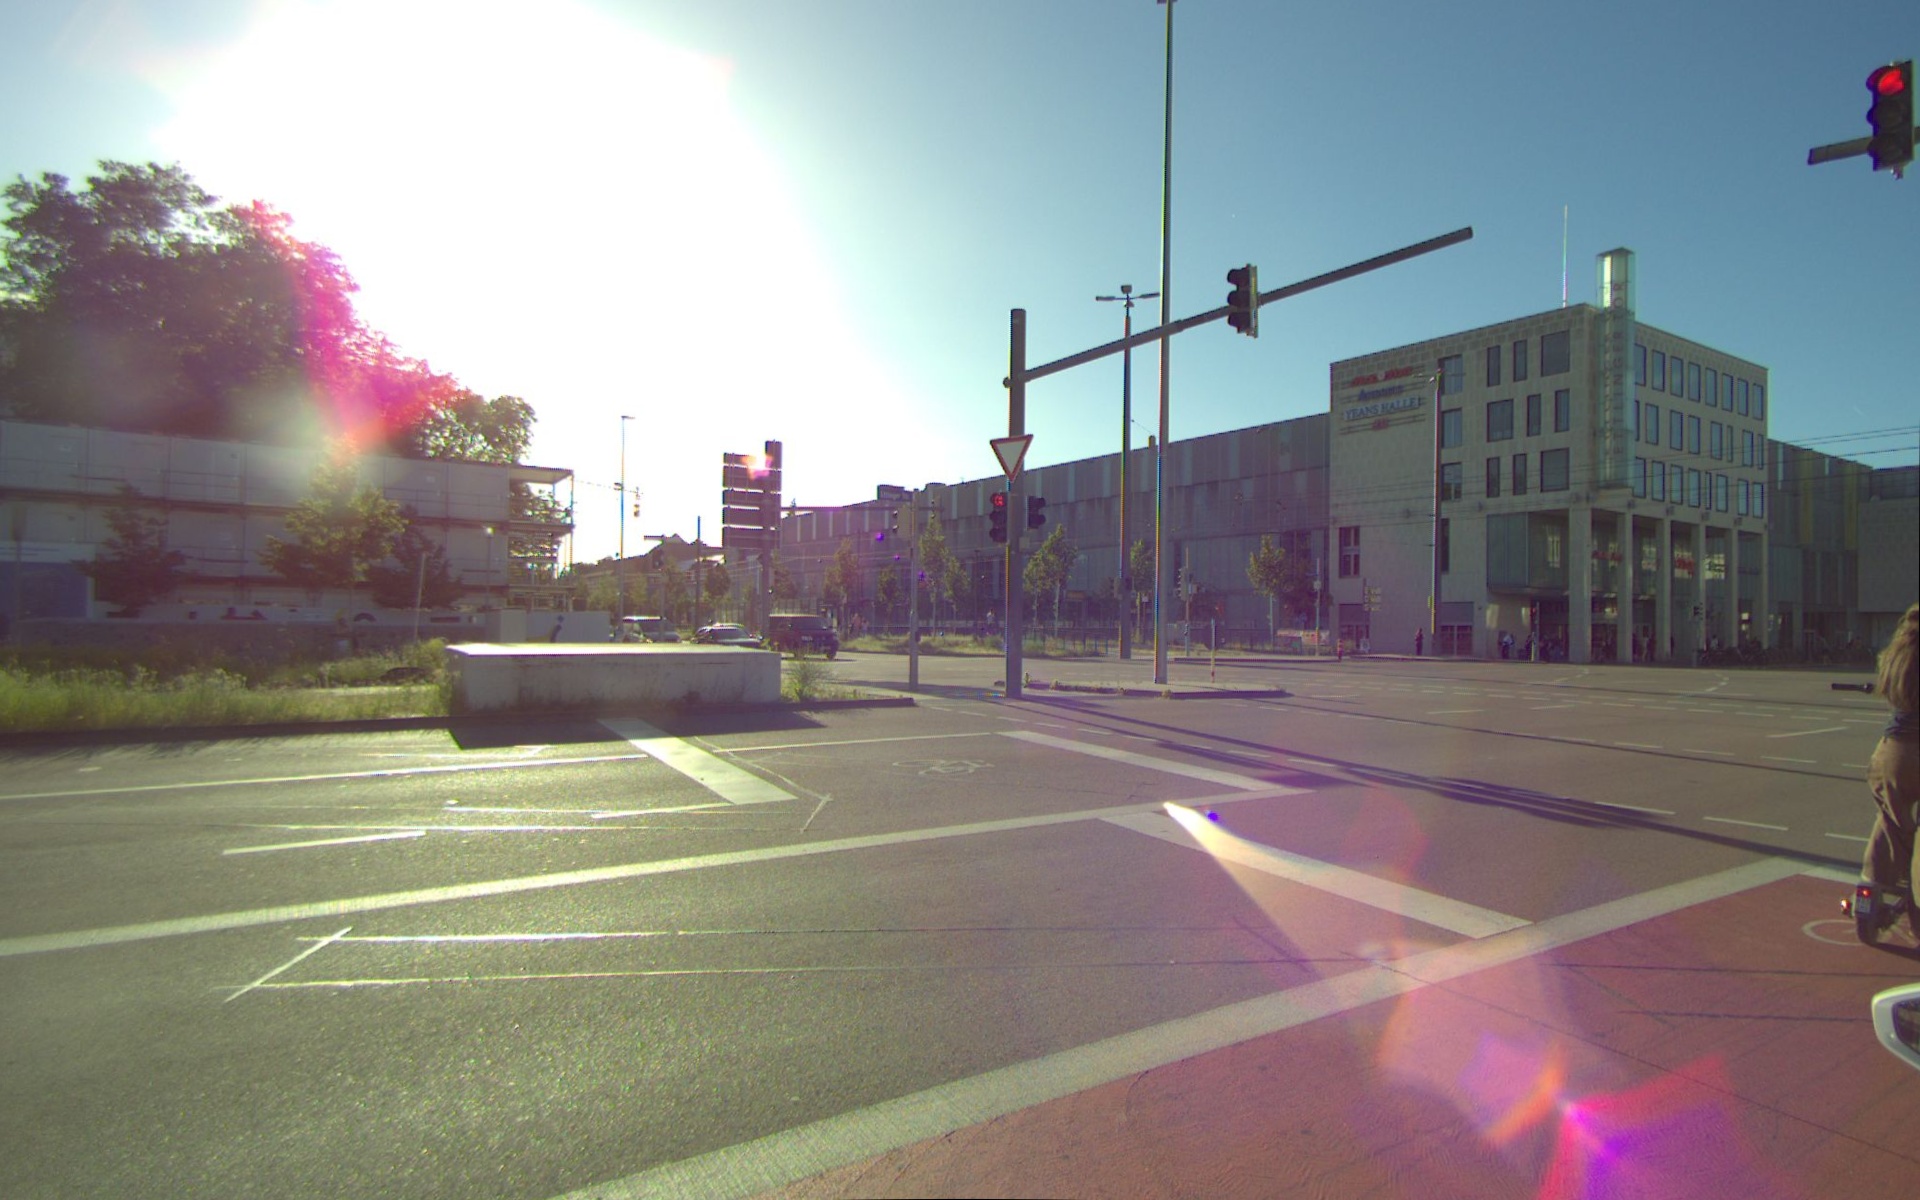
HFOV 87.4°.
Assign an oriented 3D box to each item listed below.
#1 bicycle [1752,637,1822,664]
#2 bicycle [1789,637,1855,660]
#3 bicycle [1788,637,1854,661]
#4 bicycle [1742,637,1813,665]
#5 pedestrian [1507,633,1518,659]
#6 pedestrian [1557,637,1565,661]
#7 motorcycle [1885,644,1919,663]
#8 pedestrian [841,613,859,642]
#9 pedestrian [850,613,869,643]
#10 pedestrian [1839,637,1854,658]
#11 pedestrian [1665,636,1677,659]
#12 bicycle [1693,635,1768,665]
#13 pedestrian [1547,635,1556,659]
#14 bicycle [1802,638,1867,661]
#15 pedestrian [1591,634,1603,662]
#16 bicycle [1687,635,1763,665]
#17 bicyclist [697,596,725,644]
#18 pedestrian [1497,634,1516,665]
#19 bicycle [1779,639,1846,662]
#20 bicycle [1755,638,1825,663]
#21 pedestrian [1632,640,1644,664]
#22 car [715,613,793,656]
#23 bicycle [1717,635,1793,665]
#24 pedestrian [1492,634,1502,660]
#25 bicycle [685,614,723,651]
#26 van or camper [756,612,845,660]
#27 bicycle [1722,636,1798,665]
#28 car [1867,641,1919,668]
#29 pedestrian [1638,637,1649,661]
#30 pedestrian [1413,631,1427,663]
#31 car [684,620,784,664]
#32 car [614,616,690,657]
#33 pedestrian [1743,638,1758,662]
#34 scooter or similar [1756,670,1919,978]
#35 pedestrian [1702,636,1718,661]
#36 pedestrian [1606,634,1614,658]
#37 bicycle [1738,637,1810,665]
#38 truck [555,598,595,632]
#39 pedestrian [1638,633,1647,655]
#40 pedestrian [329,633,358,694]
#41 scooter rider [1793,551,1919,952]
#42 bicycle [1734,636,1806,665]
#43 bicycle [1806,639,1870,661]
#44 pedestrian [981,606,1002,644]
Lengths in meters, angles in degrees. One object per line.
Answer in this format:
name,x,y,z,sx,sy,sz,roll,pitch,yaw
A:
bicycle,54.503,3.317,66.255,0.979,1.719,3.462,1,-2,-40
bicycle,61.186,3.448,71.305,0.979,1.547,3.462,2,-2,-40
bicycle,60.379,3.431,70.473,0.979,1.547,3.462,2,-2,-40
bicycle,52.857,3.256,64.965,0.979,1.719,3.462,1,-2,-40
pedestrian,34.450,2.855,62.670,0.452,1.586,0.420,1,-1,-30
pedestrian,36.649,2.964,61.259,0.380,1.431,0.438,0,-1,19
motorcycle,70.744,4.014,75.086,0.713,1.335,2.260,1,-2,-34
pedestrian,-7.192,1.817,65.805,0.889,1.855,0.787,1,-1,-35
pedestrian,-6.257,1.752,62.404,0.889,1.855,0.787,1,-1,-35
pedestrian,68.867,3.691,78.022,0.685,1.664,0.694,0,-1,23
pedestrian,49.868,3.321,70.451,0.592,1.606,0.479,1,-1,-34
bicycle,46.590,2.975,60.813,1.107,1.719,3.465,1,-2,-38
pedestrian,36.216,2.880,61.538,0.380,1.445,0.503,0,-1,19
bicycle,63.704,3.586,73.205,0.979,1.547,3.462,2,-2,-40
pedestrian,37.204,2.797,58.668,0.532,1.664,0.549,0,-1,28
bicycle,45.696,2.973,60.036,1.107,1.719,3.465,1,-2,-38
bicyclist,-13.867,1.123,56.020,1.007,2.677,1.610,1,-1,-34
pedestrian,32.826,2.959,60.375,0.729,1.822,0.752,1,-1,-34
bicycle,58.872,3.476,69.392,0.979,1.547,3.462,2,-2,-40
bicycle,55.254,3.326,66.923,0.979,1.547,3.462,2,-2,-40
pedestrian,44.377,3.399,65.763,0.508,1.606,0.479,1,-1,-34
car,-10.394,1.690,50.424,1.981,2.040,4.821,1,-2,-36
bicycle,48.212,3.010,60.941,1.107,1.719,3.465,1,-2,-38
pedestrian,33.854,2.962,63.308,0.452,1.586,0.420,1,-1,-30
bicycle,-14.546,1.851,57.005,1.007,2.040,3.472,1,-2,-33
van or camper,-7.285,1.587,45.584,1.981,2.040,4.821,1,-2,-36
bicycle,49.141,3.076,61.742,1.107,1.719,3.465,1,-2,-38
car,55.429,3.167,59.263,3.958,1.505,1.982,1,-1,-34
pedestrian,44.939,3.212,66.033,0.508,1.530,0.479,1,-1,-34
pedestrian,24.443,2.486,53.384,0.543,1.716,0.521,1,-1,-40
car,-9.401,1.700,41.518,2.313,1.671,4.821,1,-2,-37
car,-14.822,1.698,48.135,1.981,1.849,4.821,1,-2,-36
pedestrian,55.118,3.486,70.044,0.689,1.664,0.648,1,-1,-38
scooter or similar,4.587,0.973,4.765,1.645,1.218,0.725,1,-1,-30
pedestrian,50.408,3.228,67.469,0.776,1.664,0.690,-1,-2,45
pedestrian,44.639,3.168,68.967,0.363,1.606,0.384,1,-1,-34
bicycle,51.943,3.224,64.161,0.979,1.719,3.462,1,-2,-40
truck,-33.480,1.317,87.257,1.979,2.875,6.293,1,-2,-33
pedestrian,46.196,2.985,67.956,0.363,1.458,0.384,1,-1,-34
pedestrian,-17.458,1.780,28.458,0.619,1.674,0.935,1,-1,-30
scooter rider,4.609,0.686,4.805,0.801,1.798,0.725,1,-1,-30
bicycle,51.117,3.187,63.427,0.979,1.719,3.462,1,-2,-40
bicycle,64.504,3.642,73.854,0.979,1.547,3.462,2,-2,-40
pedestrian,1.582,1.258,50.600,0.788,1.855,0.706,1,-1,-37
